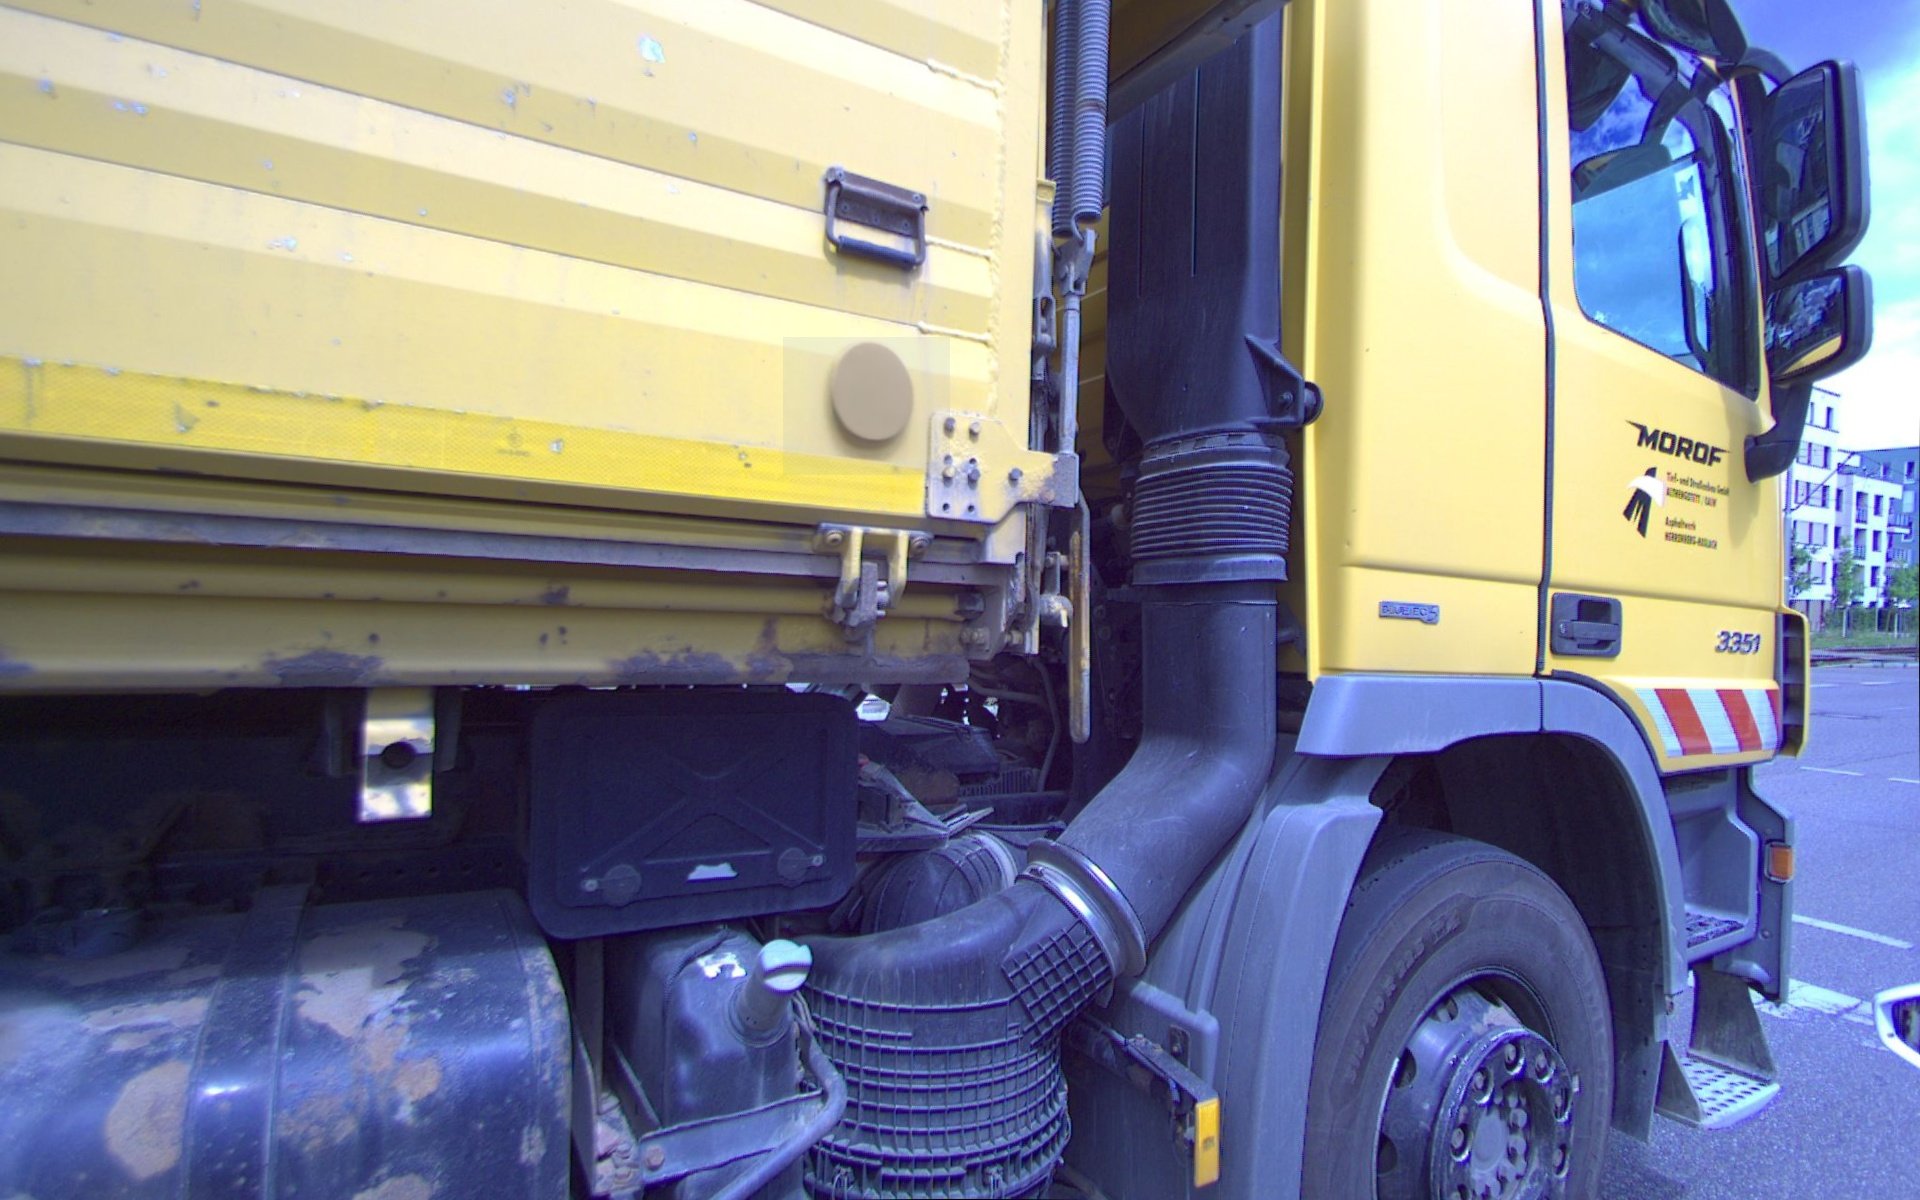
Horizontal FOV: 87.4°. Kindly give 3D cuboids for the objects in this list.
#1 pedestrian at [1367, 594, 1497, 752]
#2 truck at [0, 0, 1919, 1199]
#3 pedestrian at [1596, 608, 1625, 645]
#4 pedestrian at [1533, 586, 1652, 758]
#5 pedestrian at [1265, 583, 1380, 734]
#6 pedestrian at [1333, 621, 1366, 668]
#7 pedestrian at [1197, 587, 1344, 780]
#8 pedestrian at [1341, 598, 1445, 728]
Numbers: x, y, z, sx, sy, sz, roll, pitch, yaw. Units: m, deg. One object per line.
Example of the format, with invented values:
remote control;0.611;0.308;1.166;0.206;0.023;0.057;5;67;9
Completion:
pedestrian;5.151;0.758;10.988;0.918;1.628;0.908;1;0;-30
truck;-1.729;-0.227;1.660;7.916;3.439;3.033;1;0;-32
pedestrian;27.409;1.093;42.347;0.628;1.536;0.827;1;0;-30
pedestrian;6.827;0.742;10.861;0.818;1.766;0.778;1;0;-30
pedestrian;4.535;0.699;12.600;0.918;1.796;0.998;1;0;-29
pedestrian;14.196;1.609;36.604;1.048;1.670;0.708;1;0;18
pedestrian;2.864;0.723;9.316;0.870;1.670;0.954;1;0;-29
pedestrian;5.669;0.788;13.161;0.898;1.618;0.887;1;0;-33
